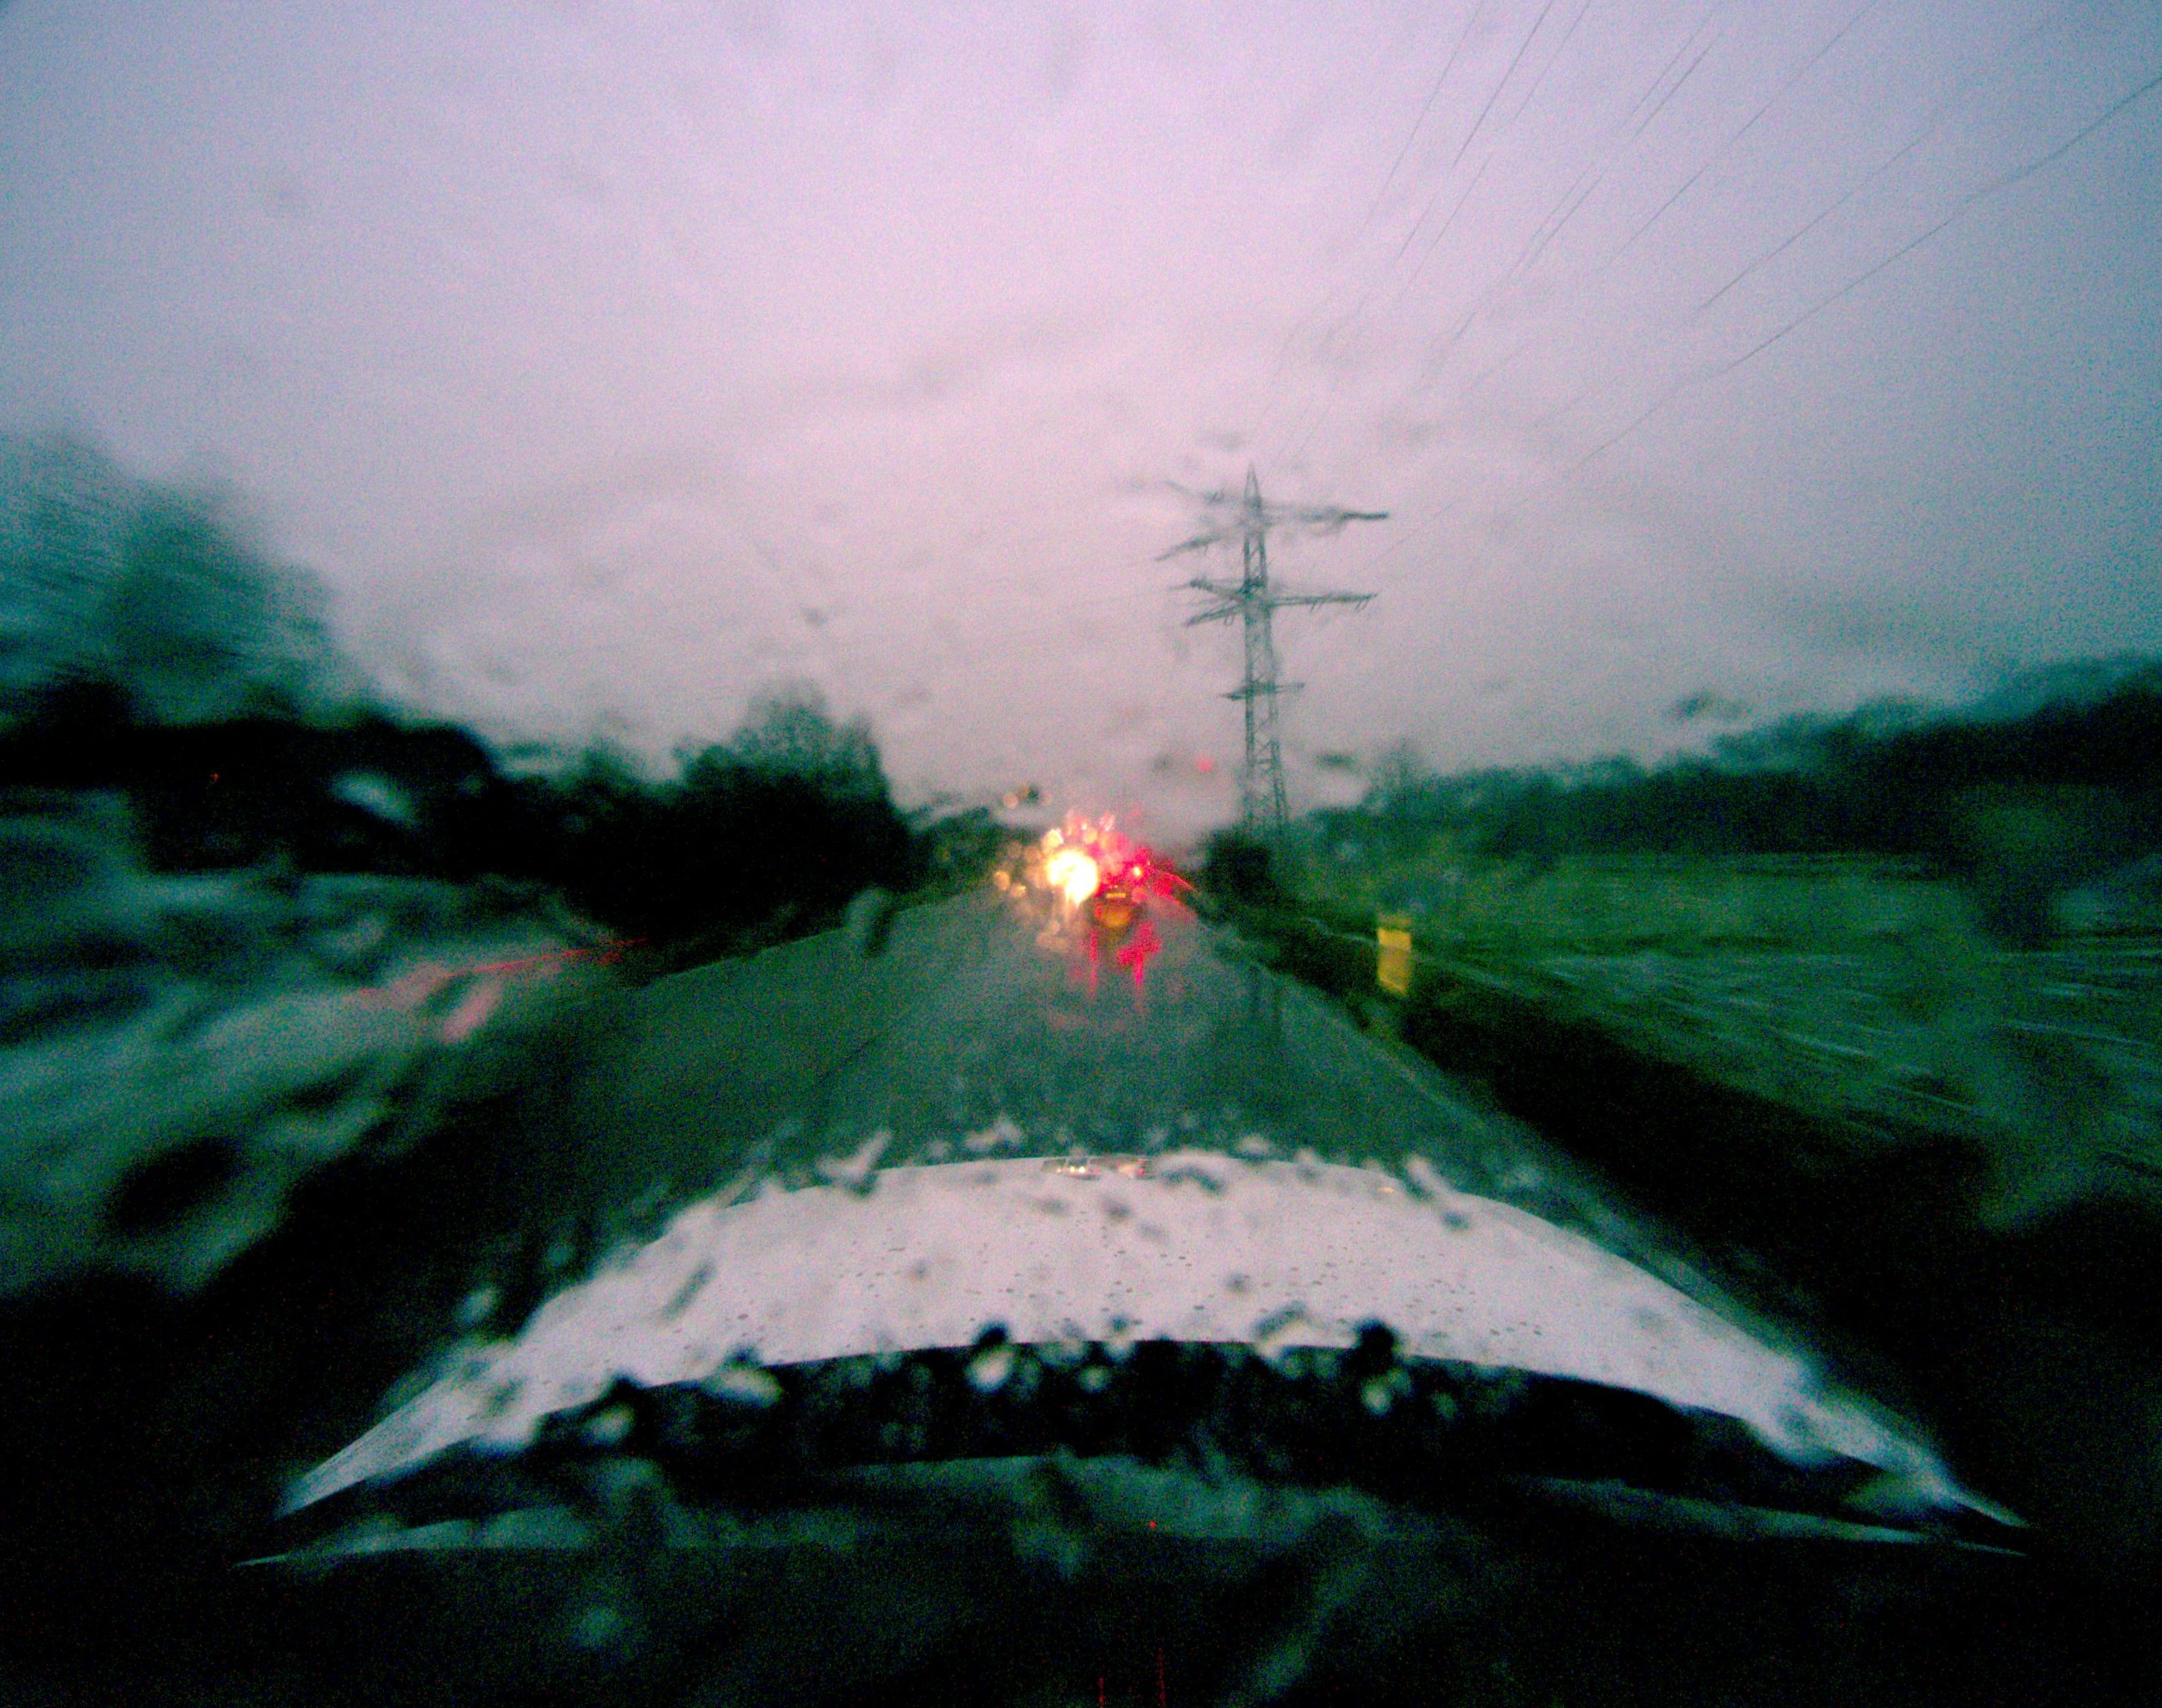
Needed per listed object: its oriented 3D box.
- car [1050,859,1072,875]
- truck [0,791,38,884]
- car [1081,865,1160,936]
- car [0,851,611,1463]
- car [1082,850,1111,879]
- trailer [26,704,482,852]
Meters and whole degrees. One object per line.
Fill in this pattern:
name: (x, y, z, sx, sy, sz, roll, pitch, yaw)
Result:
car: (-1.790, 1.212, 74.809, 1.821, 1.409, 4.001, 0, -2, 2)
truck: (-29.623, -0.410, 20.086, 2.520, 2.436, 4.002, -2, 0, 2)
car: (1.060, 1.212, 22.873, 1.986, 1.752, 4.001, -1, 0, 2)
car: (-3.611, 0.769, 2.375, 1.801, 1.536, 4.409, 0, 0, 2)
car: (1.201, 0.762, 60.654, 1.986, 2.013, 4.002, -2, 0, 2)
trailer: (-25.323, -1.963, 26.506, 2.987, 3.634, 11.389, -1, -1, 1)
